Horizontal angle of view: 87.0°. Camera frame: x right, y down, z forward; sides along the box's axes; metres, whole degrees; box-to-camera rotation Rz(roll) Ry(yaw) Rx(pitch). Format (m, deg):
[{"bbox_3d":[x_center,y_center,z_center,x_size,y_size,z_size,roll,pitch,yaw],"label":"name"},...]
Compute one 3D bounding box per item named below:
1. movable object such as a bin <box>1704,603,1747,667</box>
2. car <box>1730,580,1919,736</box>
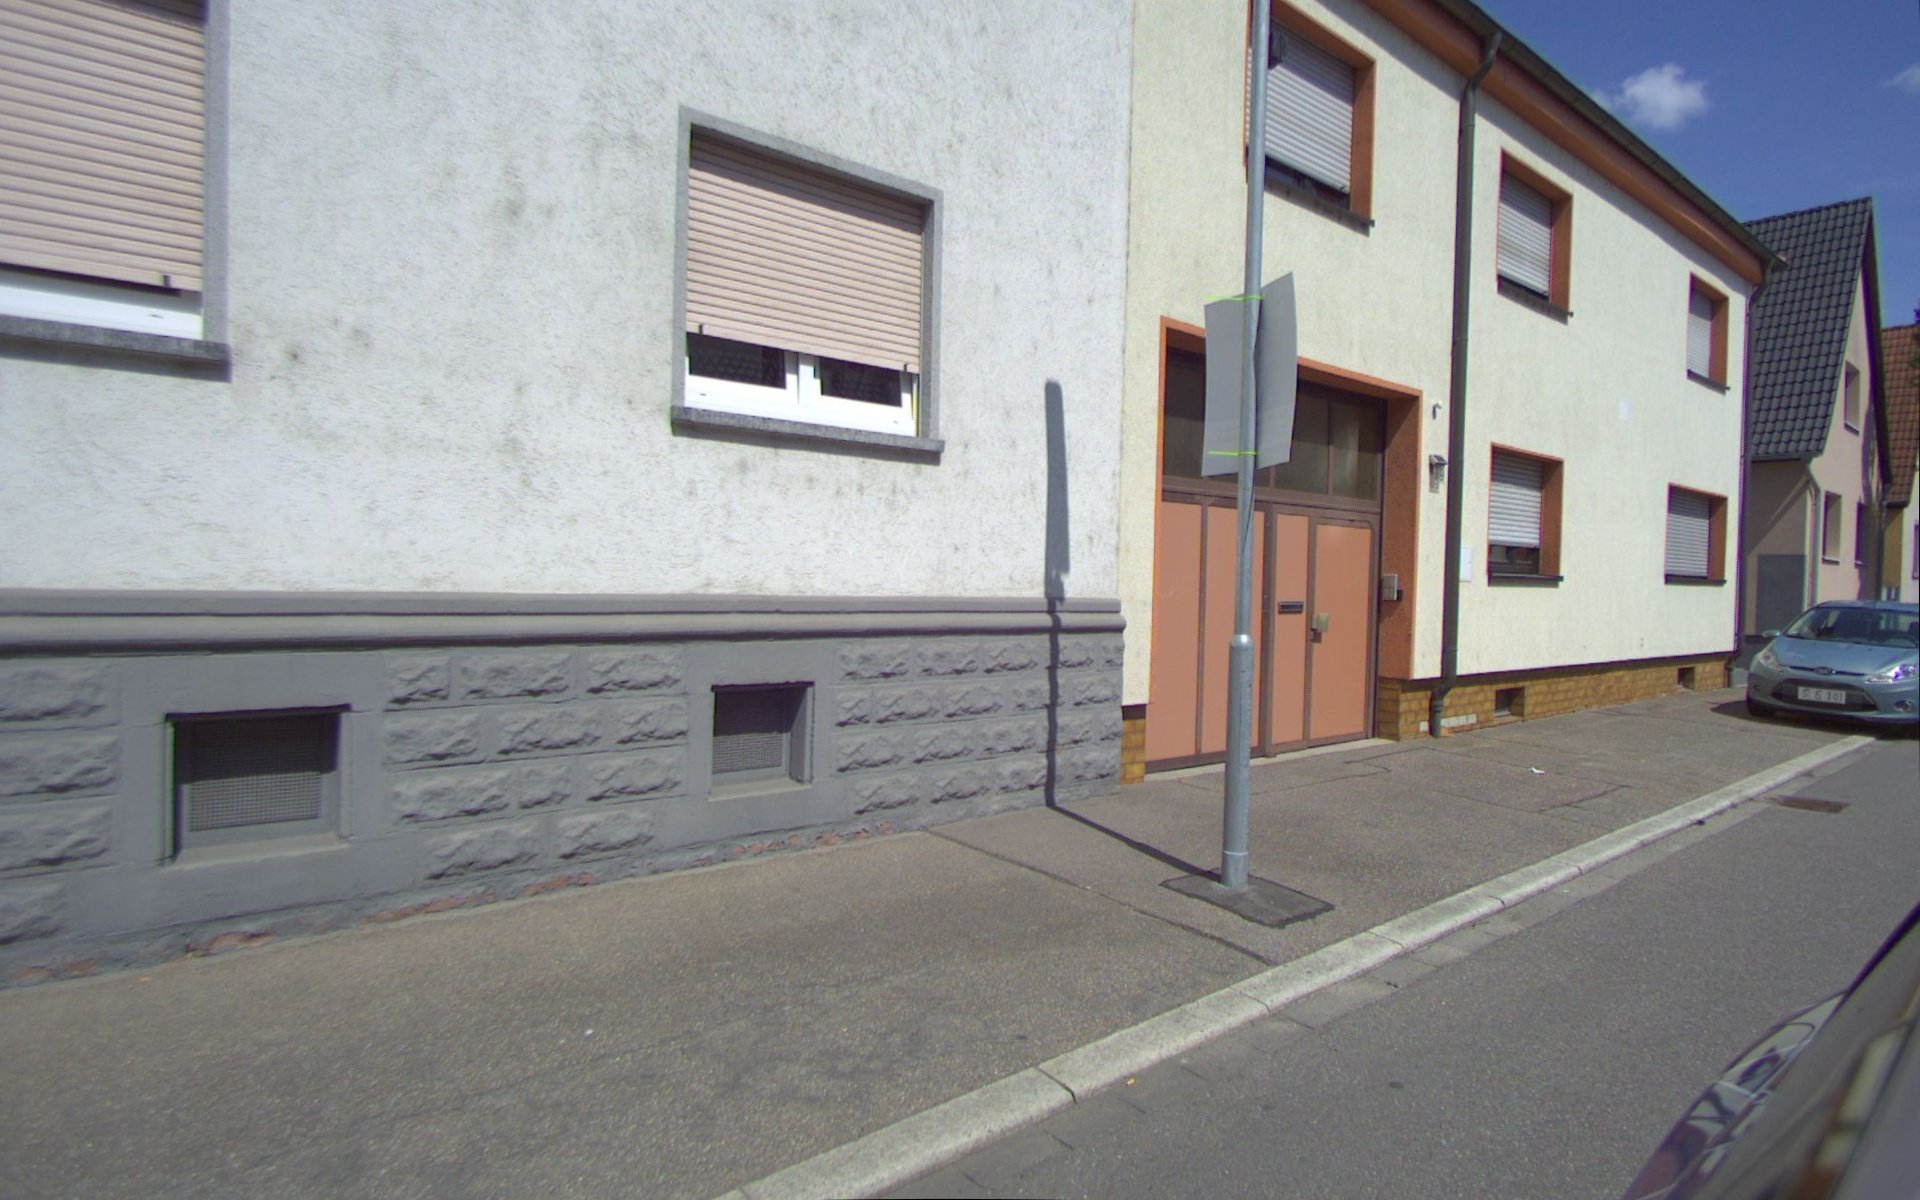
[{"bbox_3d":[14.654,0.661,19.375,0.687,1.164,0.493,0,2,-42],"label":"movable object such as a bin"},{"bbox_3d":[11.021,0.596,12.141,3.678,1.499,1.729,0,5,-36],"label":"car"}]
